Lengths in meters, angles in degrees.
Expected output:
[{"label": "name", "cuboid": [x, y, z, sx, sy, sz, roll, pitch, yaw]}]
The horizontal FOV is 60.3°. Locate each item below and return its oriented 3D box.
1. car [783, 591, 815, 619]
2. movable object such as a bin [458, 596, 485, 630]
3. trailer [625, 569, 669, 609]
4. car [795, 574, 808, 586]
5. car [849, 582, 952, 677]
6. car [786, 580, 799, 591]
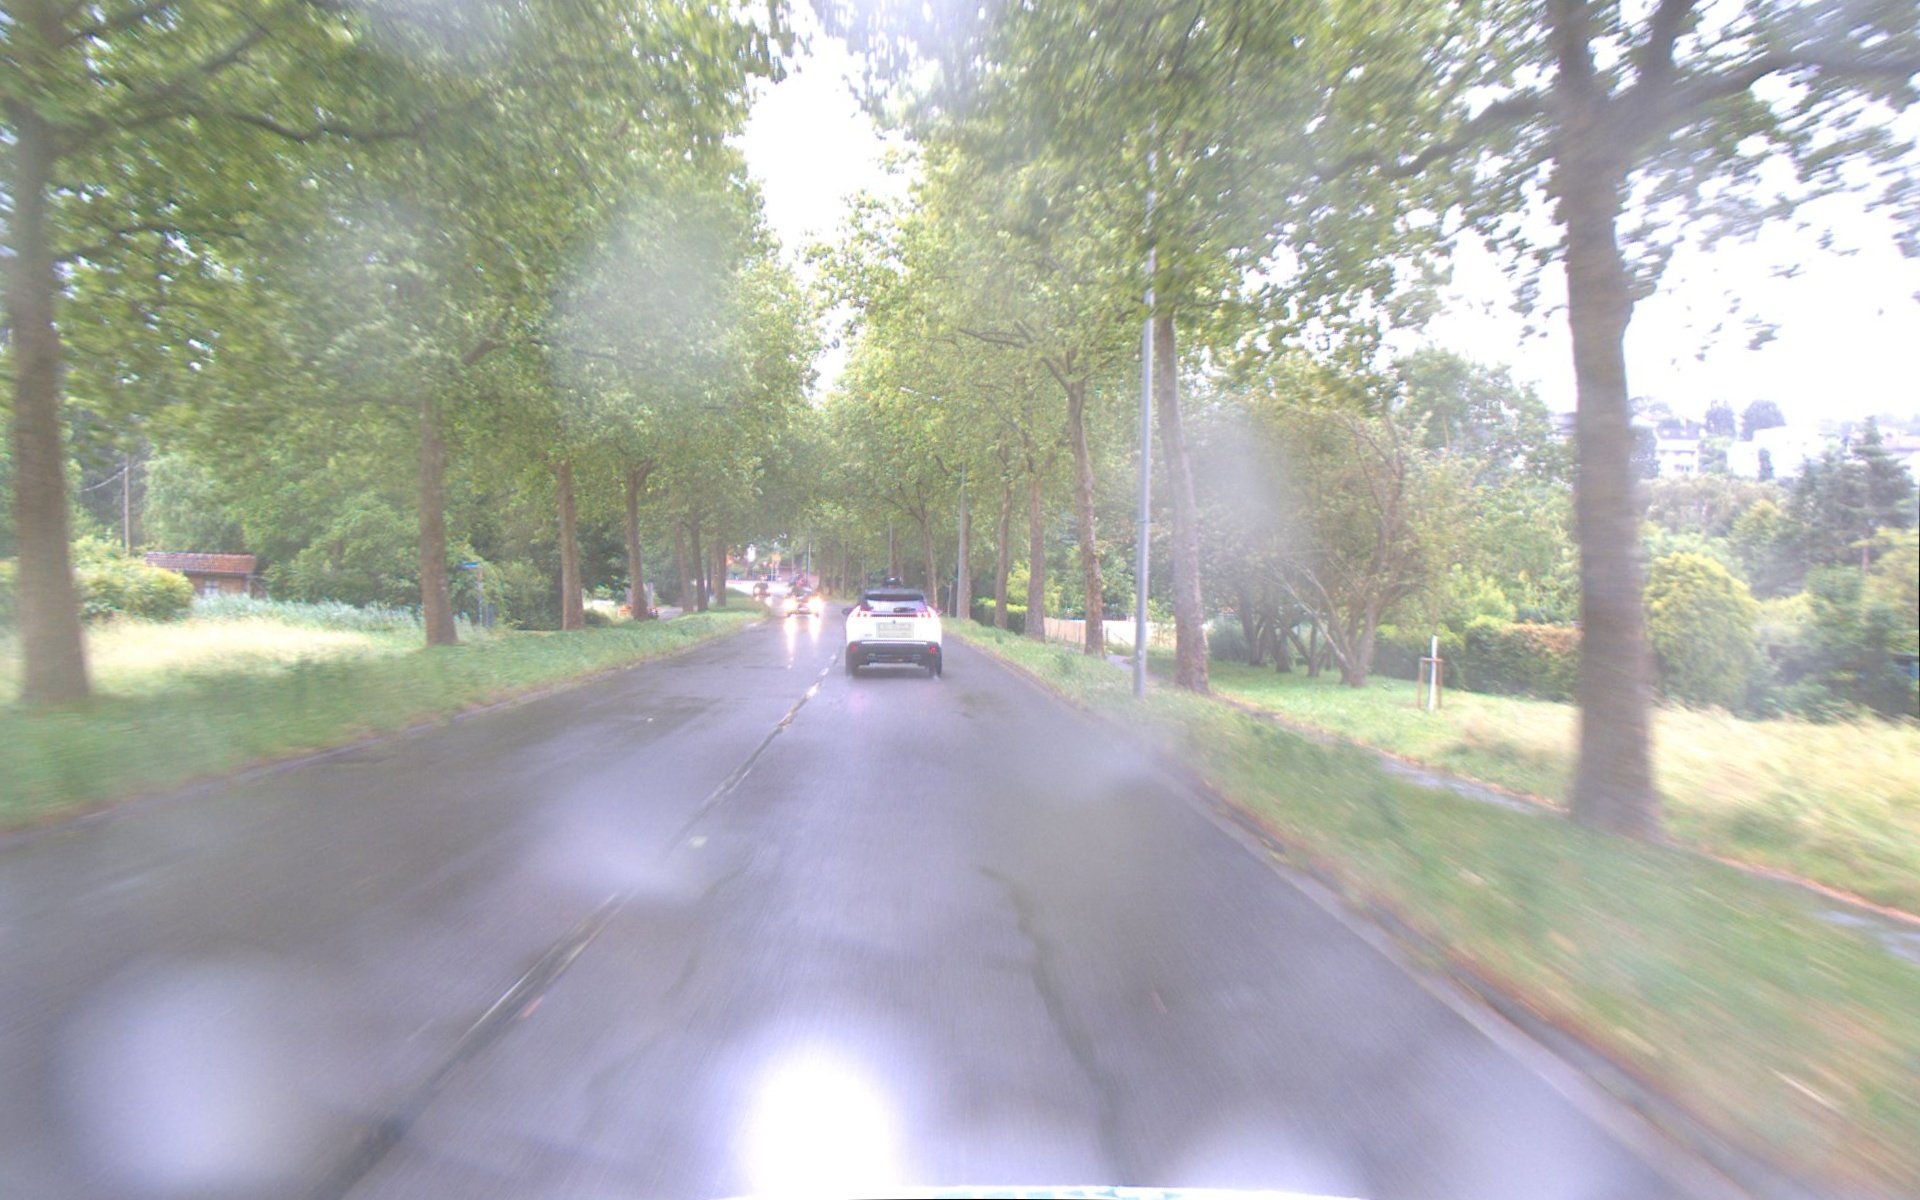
[{"label": "car", "cuboid": [-8.756, 0.247, 90.214, 1.697, 1.448, 4.221, 0, 1, -5]}, {"label": "movable object such as a bin", "cuboid": [-21.181, 0.570, 71.760, 0.944, 1.447, 0.965, 1, 0, -6]}, {"label": "trailer", "cuboid": [-21.507, -0.787, 113.849, 2.437, 2.612, 5.325, 1, 0, -6]}, {"label": "car", "cuboid": [-23.173, -2.904, 241.322, 1.791, 1.624, 3.651, 1, 0, -4]}, {"label": "car", "cuboid": [-1.163, 0.497, 30.845, 1.758, 1.606, 3.841, 1, 1, -4]}, {"label": "car", "cuboid": [-25.398, -2.264, 250.651, 1.791, 1.624, 3.651, 1, 0, -4]}]
